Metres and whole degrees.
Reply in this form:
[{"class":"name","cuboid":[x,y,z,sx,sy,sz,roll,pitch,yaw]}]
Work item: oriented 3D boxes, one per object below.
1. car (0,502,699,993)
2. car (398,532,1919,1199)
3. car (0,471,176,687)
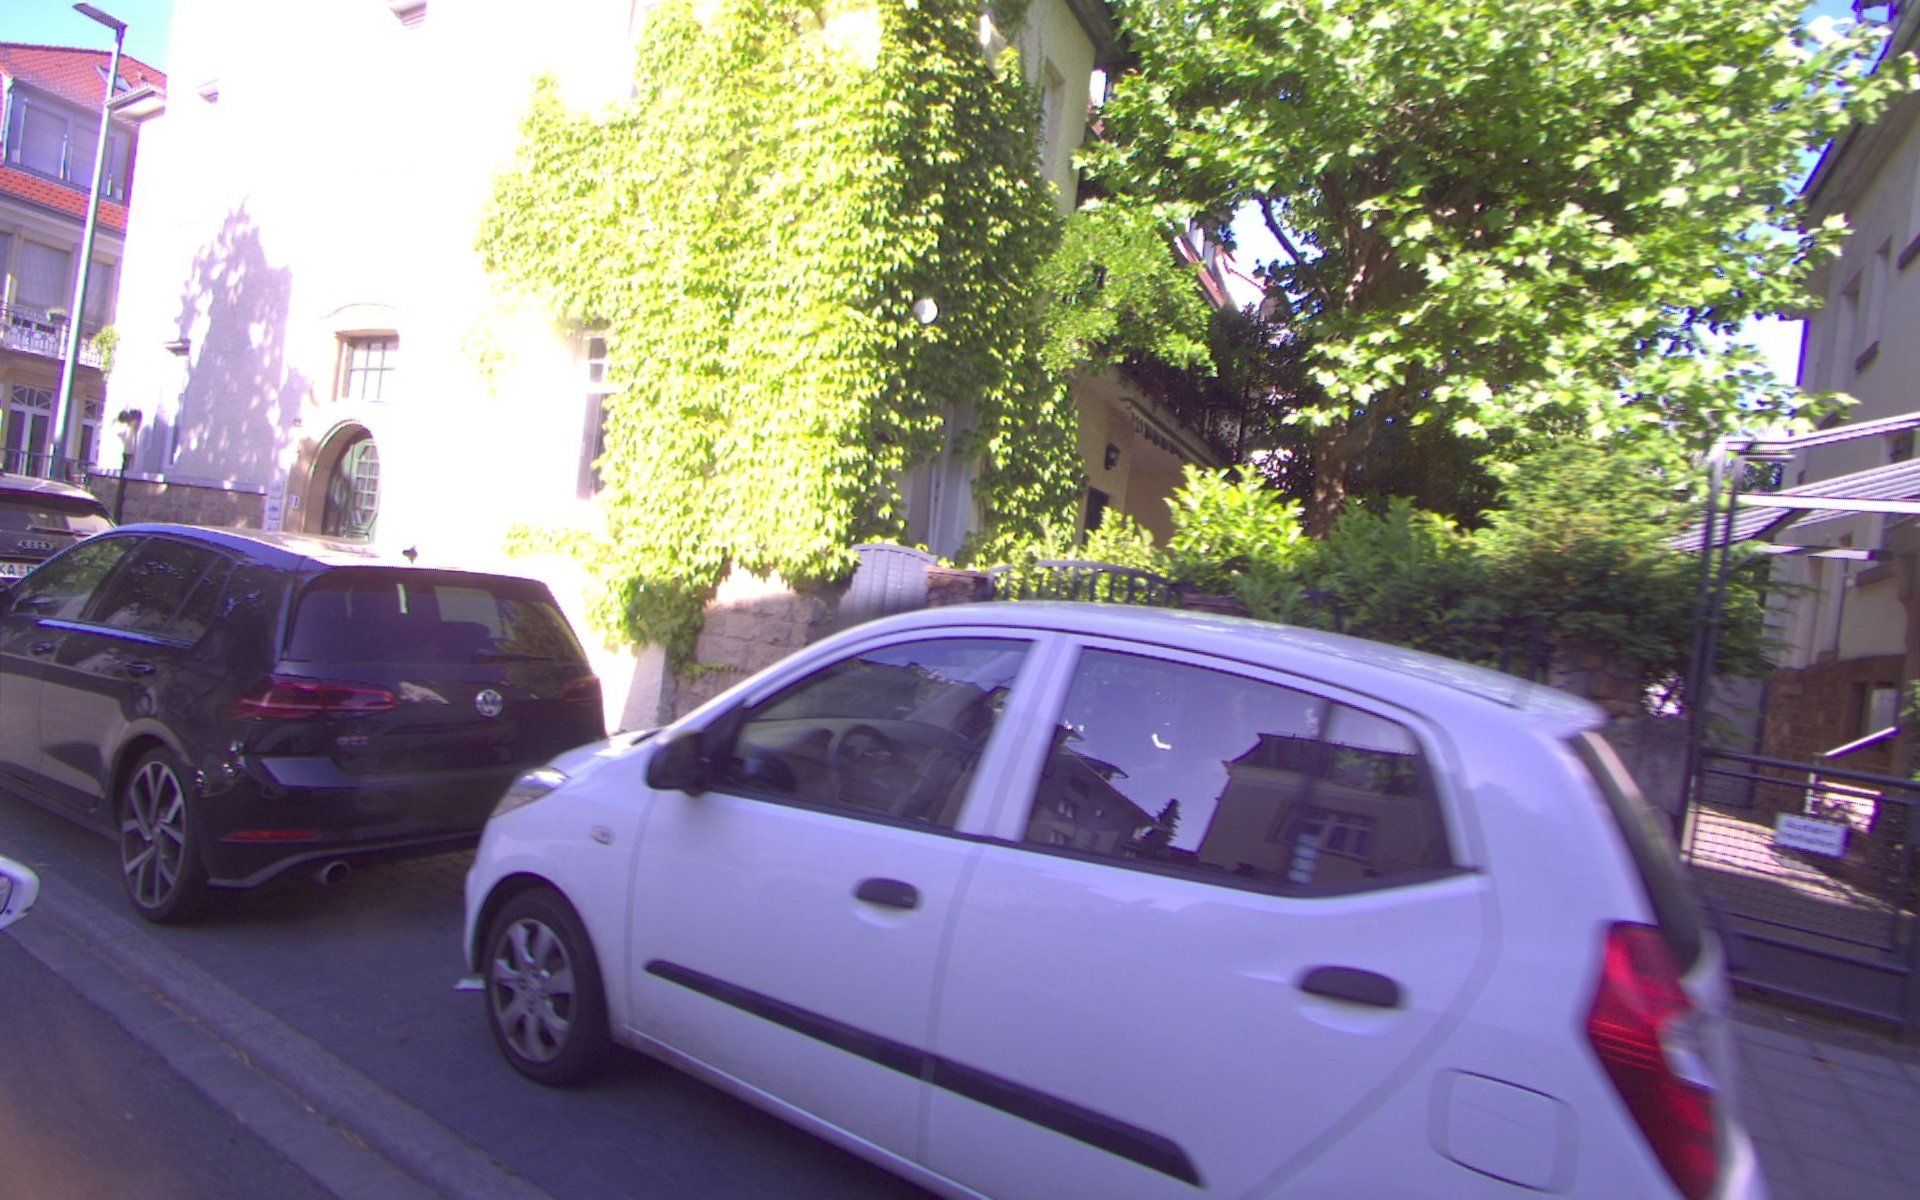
[{"class":"car","cuboid":[-3.439,0.379,4.930,4.123,1.454,1.711,6,0,31]},{"class":"car","cuboid":[0.214,0.766,2.849,3.411,1.568,1.577,6,0,31]},{"class":"car","cuboid":[-8.609,-0.312,8.374,4.294,1.539,1.794,6,0,31]}]
